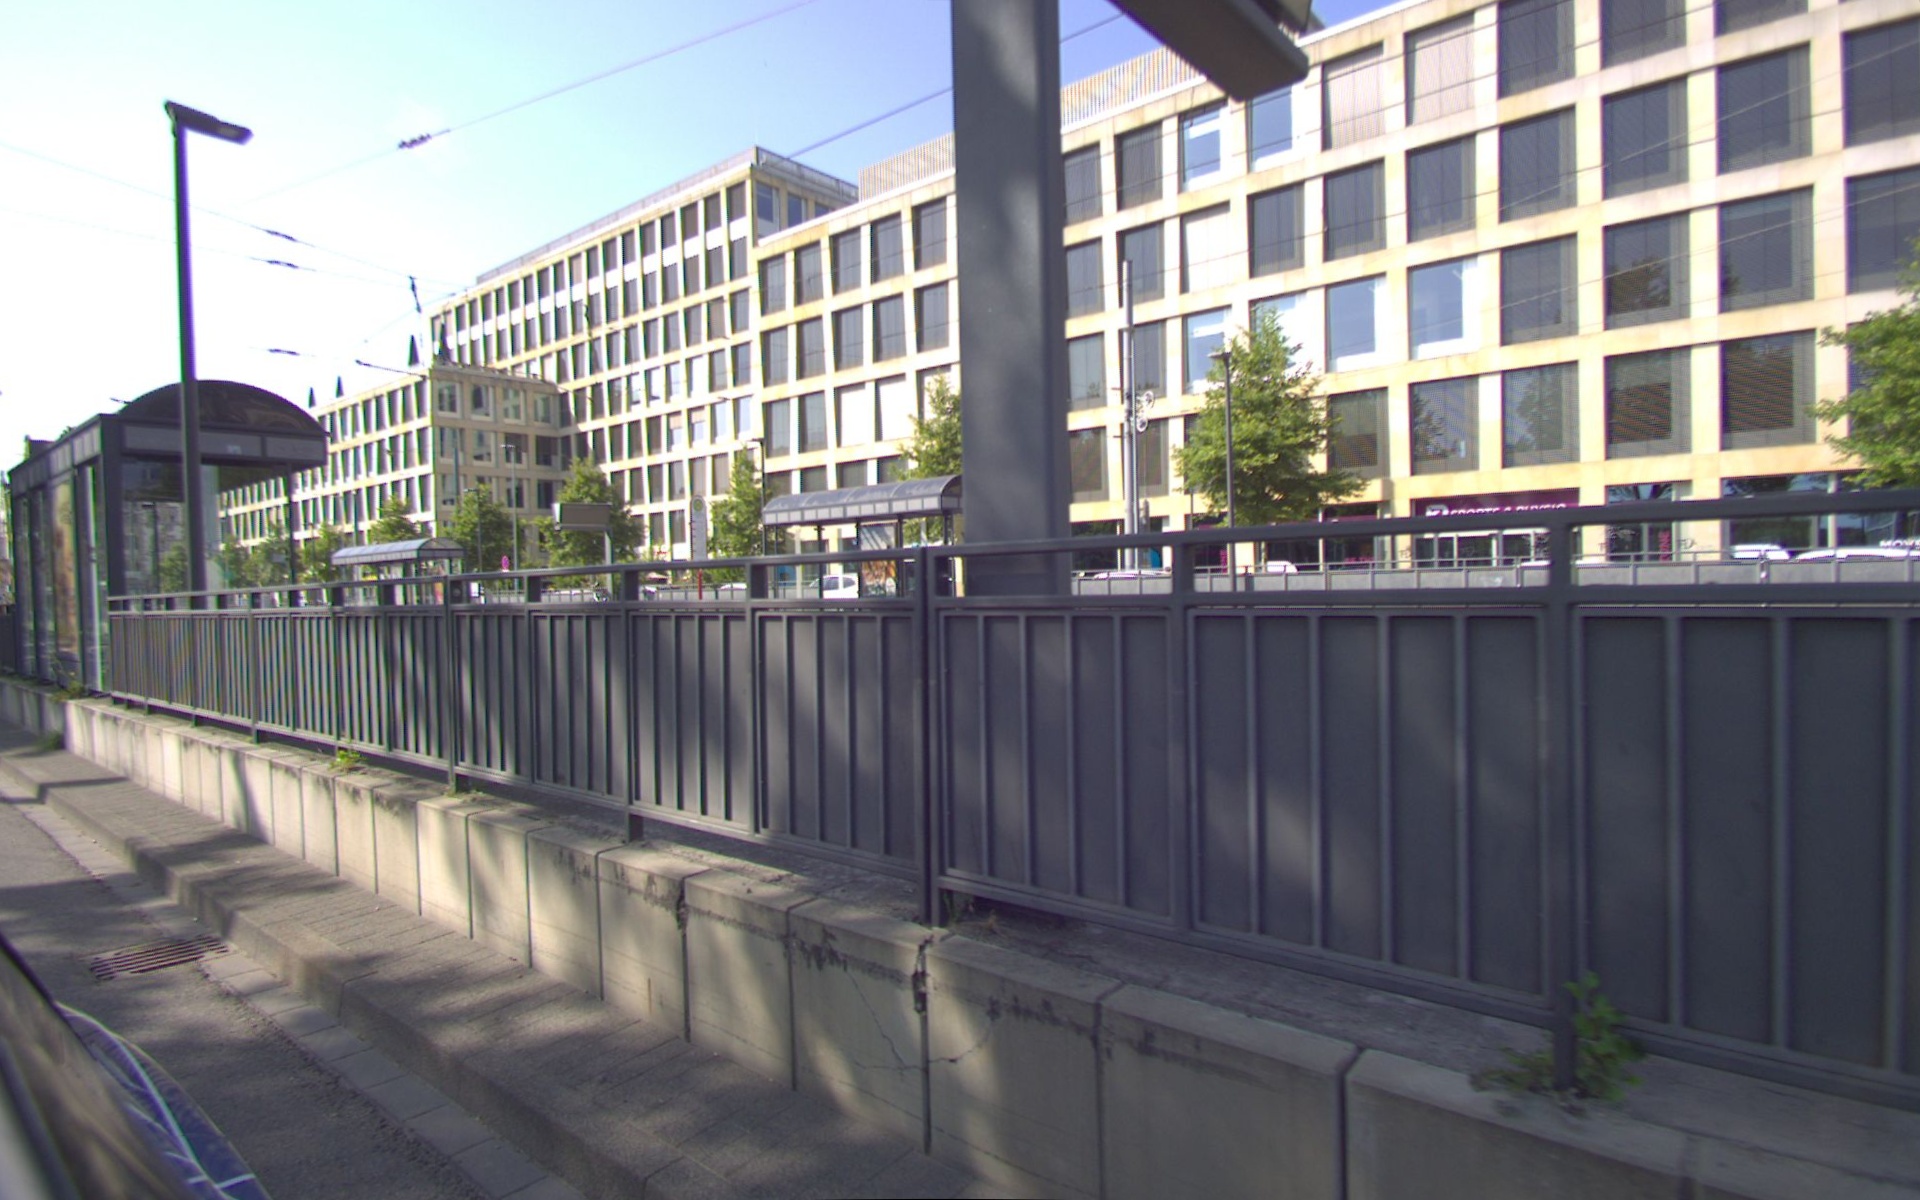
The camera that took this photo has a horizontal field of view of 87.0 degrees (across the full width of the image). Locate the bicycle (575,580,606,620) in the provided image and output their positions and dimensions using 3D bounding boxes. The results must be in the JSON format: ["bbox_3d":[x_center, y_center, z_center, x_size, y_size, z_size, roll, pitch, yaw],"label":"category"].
[{"bbox_3d":[-11.280,-0.001,30.899,0.465,1.156,1.487,-3,1,-35],"label":"bicycle"}]

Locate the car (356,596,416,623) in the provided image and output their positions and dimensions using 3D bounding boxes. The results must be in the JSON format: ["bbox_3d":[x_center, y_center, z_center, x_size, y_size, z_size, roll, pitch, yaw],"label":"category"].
[{"bbox_3d":[-34.387,0.586,60.595,4.127,1.546,1.747,-1,0,39],"label":"car"}]

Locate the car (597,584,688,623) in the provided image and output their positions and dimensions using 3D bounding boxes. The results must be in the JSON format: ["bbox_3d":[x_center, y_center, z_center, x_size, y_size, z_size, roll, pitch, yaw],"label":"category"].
[{"bbox_3d":[-13.777,0.162,43.846,4.127,1.586,1.747,-1,0,39],"label":"car"}]

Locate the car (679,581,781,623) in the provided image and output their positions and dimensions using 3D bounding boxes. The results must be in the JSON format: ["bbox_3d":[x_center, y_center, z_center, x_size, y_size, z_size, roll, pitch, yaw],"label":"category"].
[{"bbox_3d":[-9.238,0.093,40.512,4.127,1.586,1.747,-1,0,39],"label":"car"}]

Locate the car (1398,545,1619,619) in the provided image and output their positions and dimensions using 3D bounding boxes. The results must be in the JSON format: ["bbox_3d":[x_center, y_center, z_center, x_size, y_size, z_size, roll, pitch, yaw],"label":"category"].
[{"bbox_3d":[11.879,-0.342,22.043,4.003,1.457,1.694,-1,0,39],"label":"car"}]

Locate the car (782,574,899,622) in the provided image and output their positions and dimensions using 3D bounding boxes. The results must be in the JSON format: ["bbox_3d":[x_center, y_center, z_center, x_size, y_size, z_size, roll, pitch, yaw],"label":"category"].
[{"bbox_3d":[-4.293,-0.047,35.999,4.127,1.615,1.747,-1,0,39],"label":"car"}]

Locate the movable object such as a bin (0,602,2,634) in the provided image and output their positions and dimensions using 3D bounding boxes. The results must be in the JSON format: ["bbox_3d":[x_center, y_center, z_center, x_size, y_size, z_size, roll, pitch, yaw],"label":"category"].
[{"bbox_3d":[-100.033,1.944,101.941,3.546,3.247,4.092,-2,0,24],"label":"movable object such as a bin"}]

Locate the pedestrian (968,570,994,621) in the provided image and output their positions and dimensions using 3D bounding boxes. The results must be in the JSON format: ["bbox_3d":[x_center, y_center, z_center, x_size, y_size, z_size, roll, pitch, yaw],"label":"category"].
[{"bbox_3d":[0.845,-0.167,40.390,0.822,2.029,0.557,0,-1,40],"label":"pedestrian"}]

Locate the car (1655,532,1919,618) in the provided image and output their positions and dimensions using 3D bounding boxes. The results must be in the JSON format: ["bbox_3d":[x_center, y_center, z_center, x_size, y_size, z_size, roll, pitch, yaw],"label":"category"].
[{"bbox_3d":[15.697,-0.424,19.218,4.003,1.457,1.694,-1,0,39],"label":"car"}]

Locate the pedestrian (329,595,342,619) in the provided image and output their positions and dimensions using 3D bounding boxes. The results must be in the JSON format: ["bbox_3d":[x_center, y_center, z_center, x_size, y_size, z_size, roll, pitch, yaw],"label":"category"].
[{"bbox_3d":[-54.061,0.573,87.591,0.822,2.028,0.759,-1,1,43],"label":"pedestrian"}]

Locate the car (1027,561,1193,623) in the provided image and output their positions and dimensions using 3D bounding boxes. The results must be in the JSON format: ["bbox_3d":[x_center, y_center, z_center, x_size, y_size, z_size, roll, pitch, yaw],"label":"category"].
[{"bbox_3d":[4.153,-0.198,28.430,4.307,1.615,1.746,-1,0,39],"label":"car"}]

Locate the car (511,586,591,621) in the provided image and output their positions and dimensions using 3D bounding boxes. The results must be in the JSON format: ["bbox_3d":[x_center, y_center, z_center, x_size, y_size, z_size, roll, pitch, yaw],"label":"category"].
[{"bbox_3d":[-19.691,0.180,48.649,4.127,1.586,1.747,-1,0,39],"label":"car"}]
